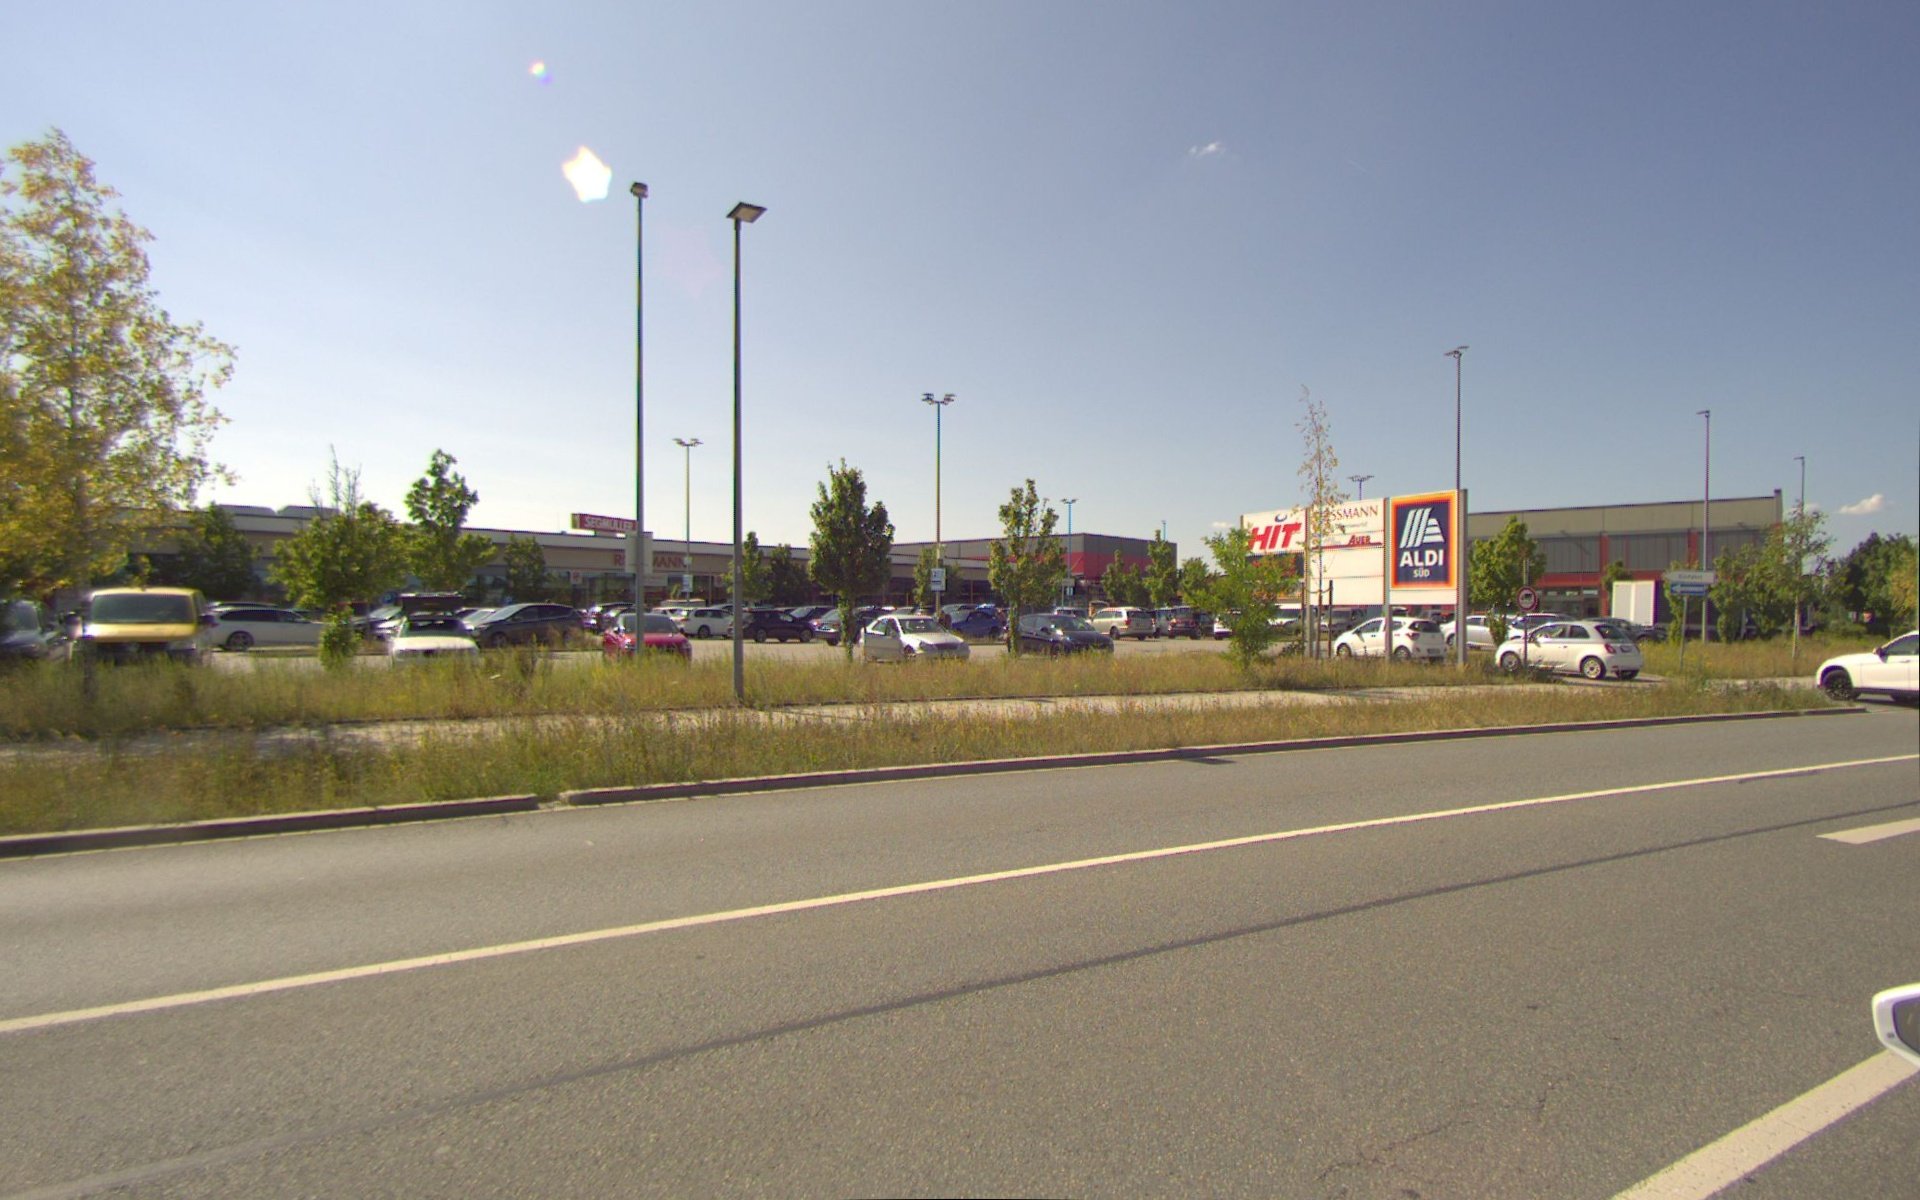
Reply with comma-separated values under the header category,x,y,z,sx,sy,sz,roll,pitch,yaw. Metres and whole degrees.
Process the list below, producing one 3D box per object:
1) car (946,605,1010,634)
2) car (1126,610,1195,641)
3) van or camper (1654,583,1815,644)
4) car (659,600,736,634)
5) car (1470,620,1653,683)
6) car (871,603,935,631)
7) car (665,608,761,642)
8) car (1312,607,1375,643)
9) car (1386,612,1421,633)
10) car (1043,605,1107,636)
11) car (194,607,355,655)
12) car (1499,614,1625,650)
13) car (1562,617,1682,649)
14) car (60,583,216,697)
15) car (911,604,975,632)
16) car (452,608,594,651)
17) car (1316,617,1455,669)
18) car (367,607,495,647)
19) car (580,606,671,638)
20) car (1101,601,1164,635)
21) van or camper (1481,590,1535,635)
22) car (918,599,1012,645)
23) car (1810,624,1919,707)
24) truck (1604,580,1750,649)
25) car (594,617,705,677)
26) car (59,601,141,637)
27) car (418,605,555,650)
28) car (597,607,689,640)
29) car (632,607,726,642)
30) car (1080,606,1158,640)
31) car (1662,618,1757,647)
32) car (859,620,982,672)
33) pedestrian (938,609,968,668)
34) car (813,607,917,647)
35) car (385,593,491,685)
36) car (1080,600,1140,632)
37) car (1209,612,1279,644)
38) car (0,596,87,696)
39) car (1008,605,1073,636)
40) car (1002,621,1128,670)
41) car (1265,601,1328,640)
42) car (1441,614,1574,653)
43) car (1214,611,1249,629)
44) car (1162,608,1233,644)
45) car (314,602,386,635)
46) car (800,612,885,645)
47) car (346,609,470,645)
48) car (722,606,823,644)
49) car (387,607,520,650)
category,x,y,z,sx,sy,sz,roll,pitch,yaw
car,1.196,1.253,63.708,1.887,1.748,4.366,0,-1,37
car,11.126,1.379,55.578,1.889,1.639,4.360,0,-1,41
van or camper,47.778,0.822,62.165,2.539,3.514,7.616,1,-1,-44
car,-15.764,1.017,60.485,1.691,1.985,4.335,0,-1,39
car,16.508,1.366,27.770,1.892,1.568,3.973,1,-1,-26
car,-3.760,1.133,67.136,1.887,1.762,4.366,0,-1,37
car,-11.766,1.183,48.114,1.691,1.565,4.335,0,-1,39
car,20.687,1.334,54.115,1.811,1.848,4.360,0,-1,41
car,36.317,1.817,82.199,1.640,1.636,4.067,0,-1,37
car,6.796,1.185,58.875,1.886,1.749,4.368,0,-1,35
car,-23.490,1.042,34.546,1.693,1.546,4.331,0,-1,42
car,27.008,1.419,45.201,1.819,1.478,4.547,1,-1,-34
car,31.459,1.549,47.823,1.955,1.402,4.396,1,-1,-34
car,-16.438,0.733,20.359,1.980,1.991,5.644,1,-1,-35
car,-1.093,1.169,65.256,1.887,1.740,4.366,0,-1,37
car,-15.423,1.022,35.630,1.691,1.436,4.335,0,-1,39
car,13.970,1.365,33.166,1.892,1.568,3.973,1,-1,-26
car,-21.535,1.085,41.050,1.691,1.553,4.335,0,-1,39
car,-17.695,1.161,53.243,1.758,1.616,4.335,0,-1,39
car,10.964,1.160,63.730,1.811,2.051,4.610,0,-1,41
van or camper,42.364,0.963,77.531,2.401,3.314,7.203,0,-1,39
car,0.301,0.984,45.960,1.691,2.012,4.812,0,-1,39
car,19.507,1.301,19.922,1.879,1.568,4.228,1,-1,3
truck,38.077,0.817,53.335,7.372,3.510,2.316,1,-1,-17
car,-8.016,1.132,25.666,1.913,1.366,4.126,1,-1,-29
car,-38.779,0.855,45.259,4.283,1.545,1.828,0,-1,36
car,-17.497,1.008,37.274,1.691,1.570,4.335,0,-1,39
car,-16.296,1.199,51.806,1.691,1.623,4.335,0,-1,39
car,-13.928,1.191,49.954,1.691,1.637,4.335,0,-1,39
car,7.608,1.099,48.325,1.815,1.568,3.975,1,-1,-25
car,44.366,1.892,59.499,4.323,1.573,1.826,0,-1,45
car,-1.220,1.268,28.891,1.913,1.366,4.126,1,-1,-29
pedestrian,-0.203,1.121,29.687,0.571,1.717,0.761,1,0,-29
car,-3.835,1.081,41.153,1.691,1.536,4.335,0,-1,39
car,-11.996,0.838,22.939,1.910,1.886,4.123,1,-1,-31
car,8.550,0.916,56.937,1.884,1.740,4.373,0,-1,31
car,14.551,1.404,51.314,1.811,1.532,4.360,0,-1,41
car,-17.943,0.797,18.827,1.863,1.694,4.737,1,-1,-35
car,4.862,1.224,60.265,1.887,1.817,4.366,0,-1,37
car,3.190,1.357,31.293,1.913,1.366,4.126,1,-1,-29
car,18.700,1.142,55.722,1.811,2.092,4.360,0,-1,41
car,22.834,1.363,42.046,1.819,1.532,4.577,1,-1,-35
car,24.893,1.840,91.976,1.640,1.598,4.066,0,-1,38
car,12.692,1.375,53.447,1.889,1.827,4.360,0,-1,41
car,-32.546,0.971,53.562,4.283,1.655,1.711,0,-1,36
car,-5.912,1.398,50.904,1.691,1.596,4.335,0,-1,39
car,-23.483,1.133,42.823,1.691,1.436,4.335,0,-1,39
car,-8.200,1.096,44.294,1.691,1.581,4.335,0,-1,39
car,-19.599,1.083,39.011,1.691,1.592,4.335,0,-1,39
